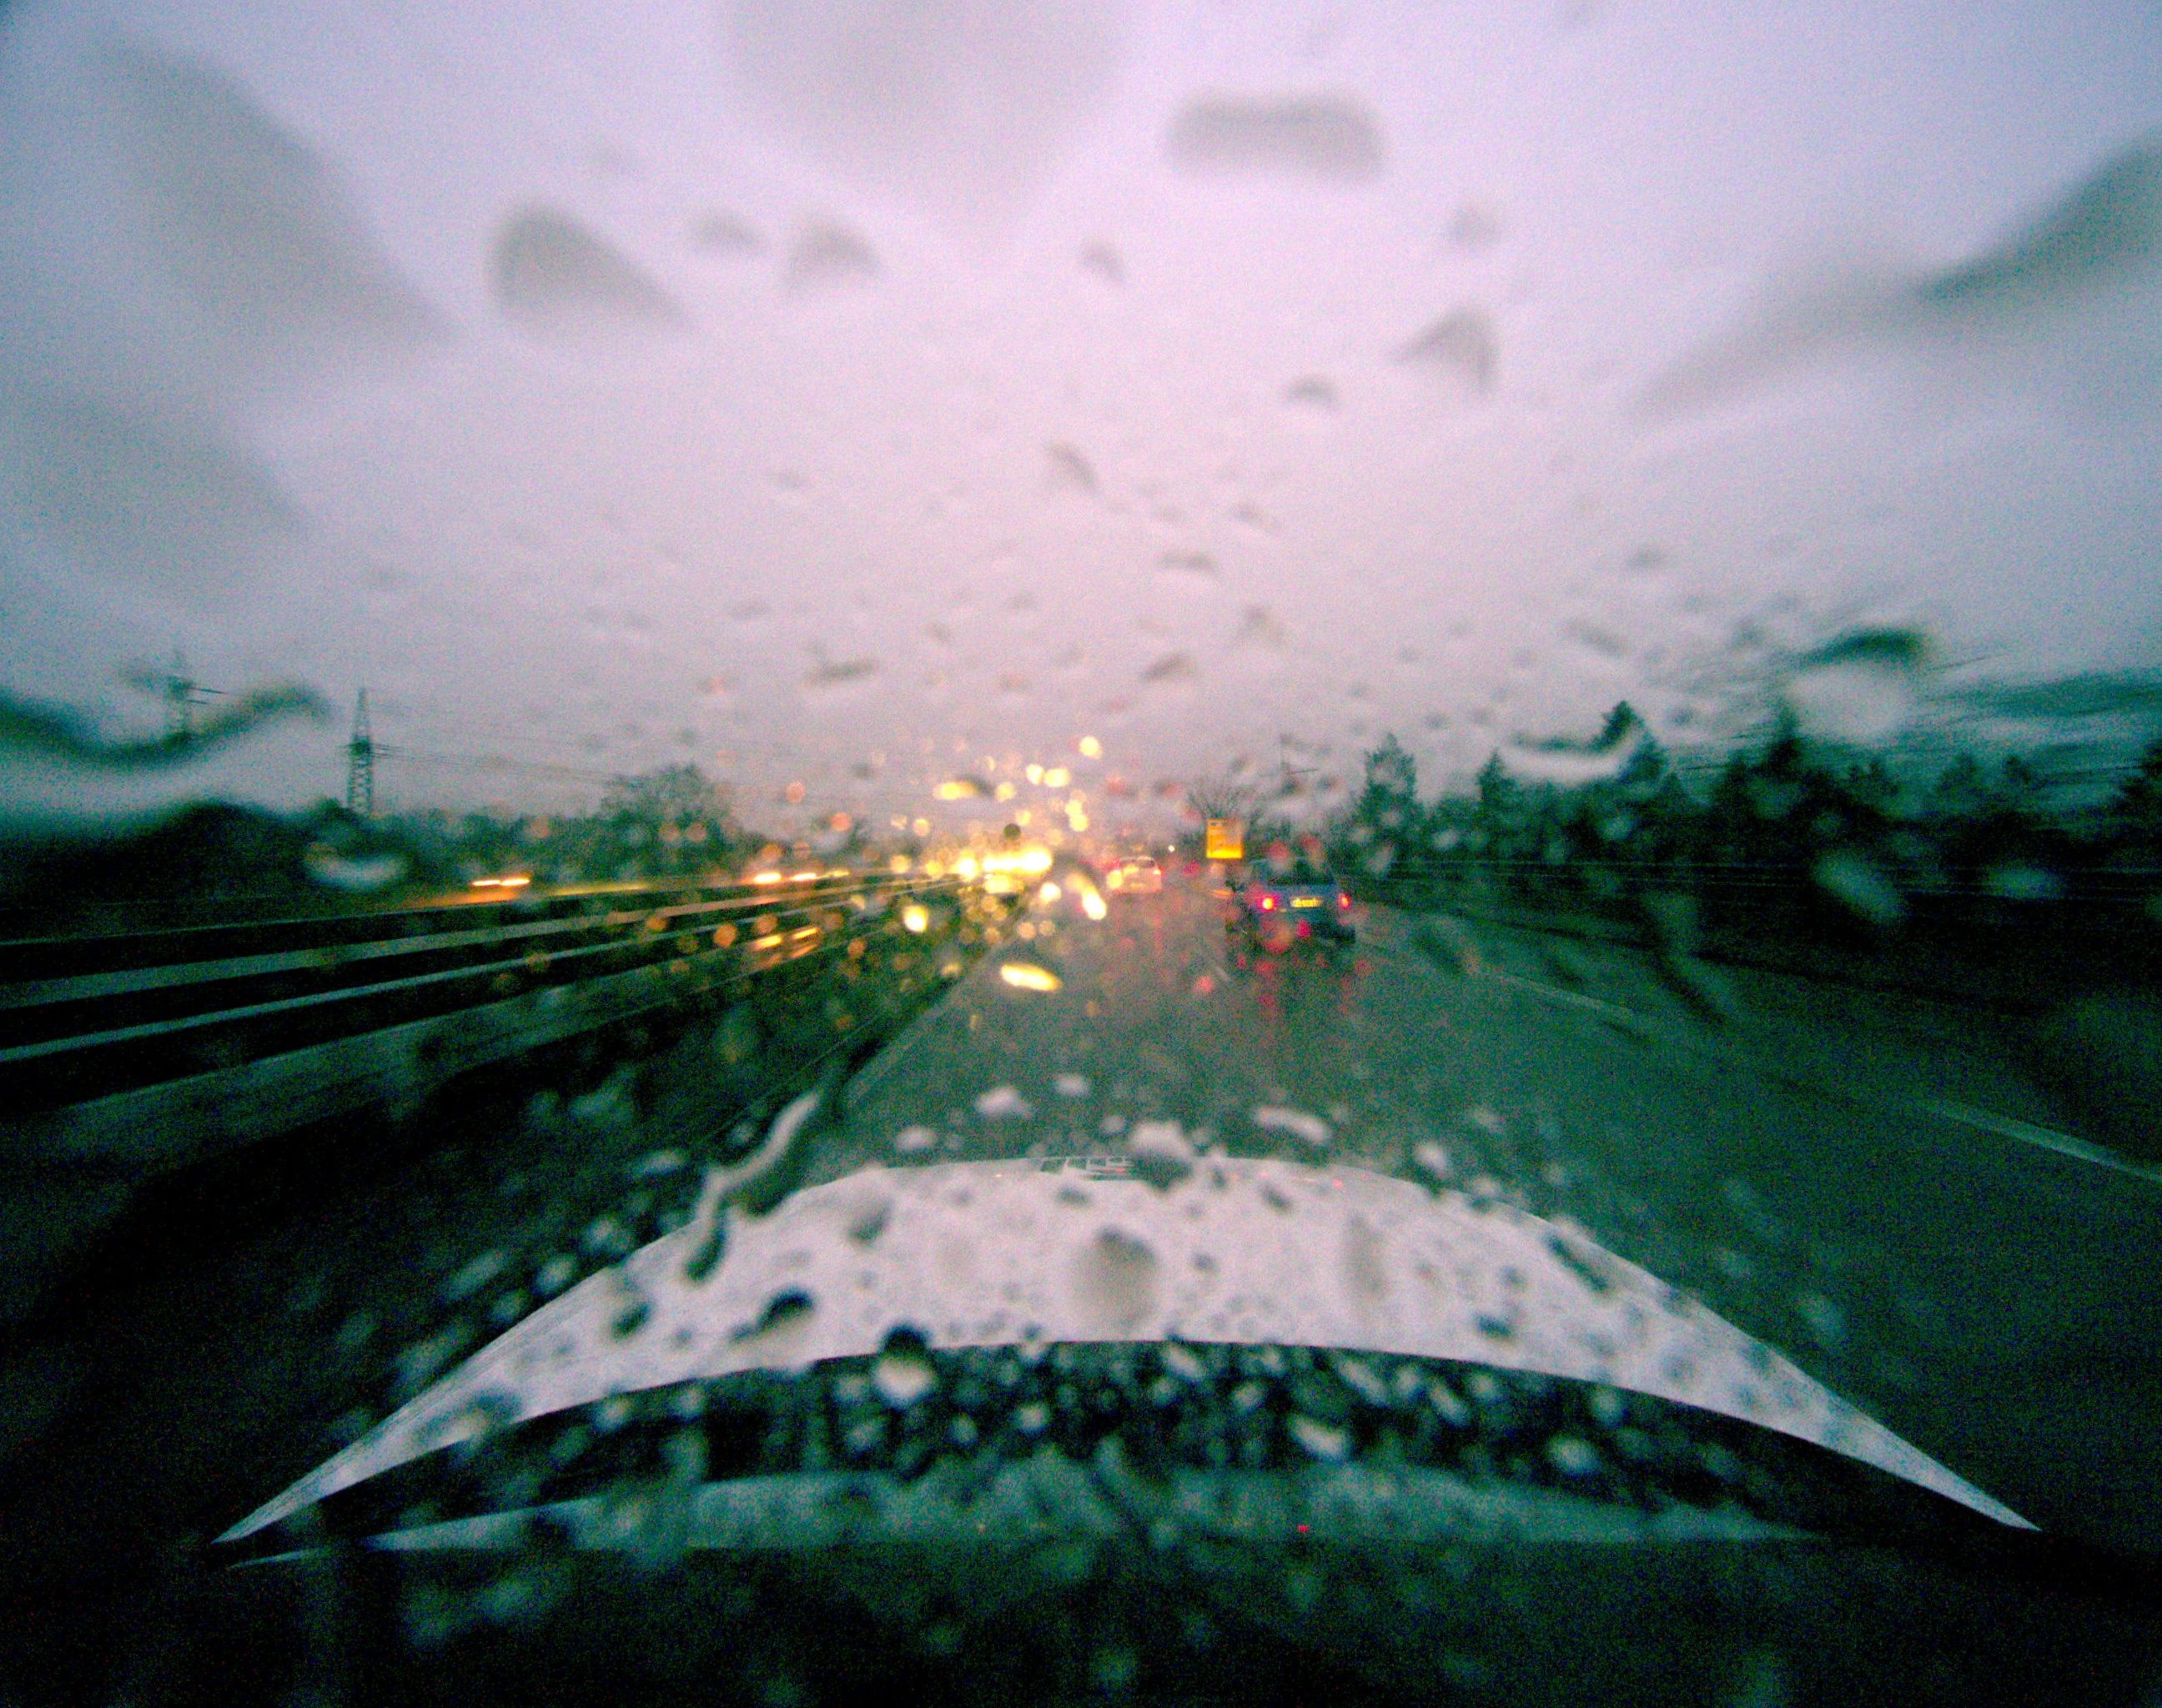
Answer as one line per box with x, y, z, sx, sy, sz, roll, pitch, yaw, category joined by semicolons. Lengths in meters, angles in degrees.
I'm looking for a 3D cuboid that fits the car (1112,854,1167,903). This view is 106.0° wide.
2.057;0.837;29.384;1.838;1.636;3.769;0;0;2;car

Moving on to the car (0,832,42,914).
-27.386;0.453;18.645;1.986;2.014;4.001;0;0;1;car

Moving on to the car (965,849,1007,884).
-6.185;0.753;53.620;1.986;2.136;5.201;-1;1;1;car

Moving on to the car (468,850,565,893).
-28.134;0.823;40.750;1.987;2.013;4.000;0;0;0;car

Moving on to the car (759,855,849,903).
-10.679;0.919;31.766;1.829;1.636;4.546;-1;1;1;car

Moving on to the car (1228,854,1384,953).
3.928;0.785;14.951;1.838;1.453;4.151;-1;1;2;car
